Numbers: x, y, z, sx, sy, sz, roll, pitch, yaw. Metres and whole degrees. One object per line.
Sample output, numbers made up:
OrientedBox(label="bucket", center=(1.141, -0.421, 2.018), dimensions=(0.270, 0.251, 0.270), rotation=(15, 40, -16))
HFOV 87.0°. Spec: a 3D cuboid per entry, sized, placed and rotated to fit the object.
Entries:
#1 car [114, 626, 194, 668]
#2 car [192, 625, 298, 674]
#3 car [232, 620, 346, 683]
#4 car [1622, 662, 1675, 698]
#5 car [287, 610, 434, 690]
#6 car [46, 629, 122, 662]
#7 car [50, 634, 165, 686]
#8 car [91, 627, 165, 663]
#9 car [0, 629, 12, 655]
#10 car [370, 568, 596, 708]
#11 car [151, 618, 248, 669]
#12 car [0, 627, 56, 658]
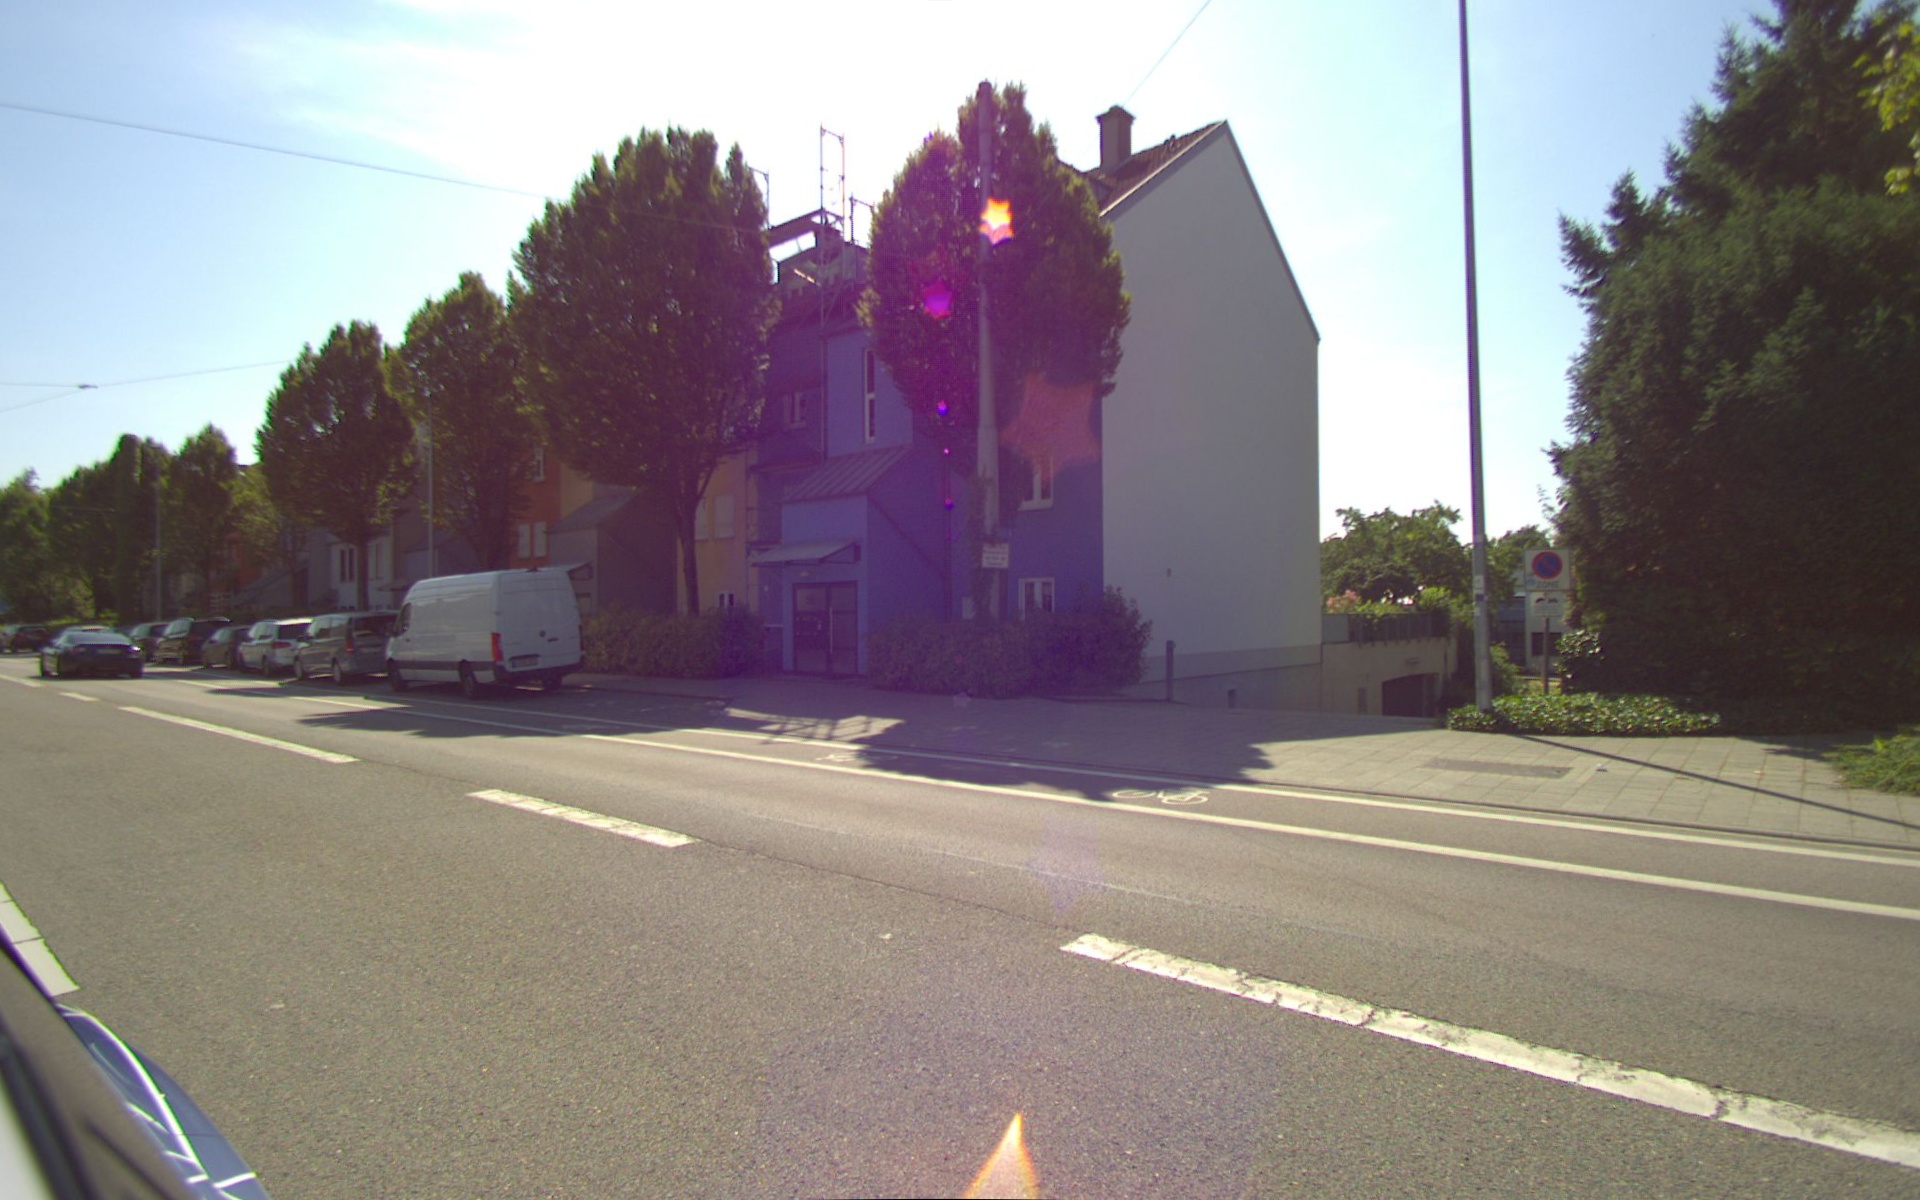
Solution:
OrientedBox(label="car", center=(-33.562, 1.908, 42.098), dimensions=(4.159, 1.619, 1.661), rotation=(-1, 0, 38))
OrientedBox(label="car", center=(-24.847, 1.681, 35.118), dimensions=(4.069, 1.466, 1.849), rotation=(-1, 2, 38))
OrientedBox(label="car", center=(-21.074, 1.550, 31.721), dimensions=(4.539, 1.715, 1.829), rotation=(-1, 3, 42))
OrientedBox(label="car", center=(33.518, 3.874, 49.206), dimensions=(1.646, 1.336, 3.946), rotation=(-4, 0, 41))
OrientedBox(label="car", center=(-16.726, 1.327, 28.127), dimensions=(4.964, 1.879, 1.973), rotation=(-2, 3, 41))
OrientedBox(label="car", center=(-43.149, 2.200, 49.818), dimensions=(4.826, 1.457, 1.663), rotation=(-1, 0, 35))
OrientedBox(label="car", center=(-22.428, 1.544, 26.575), dimensions=(4.062, 1.254, 1.670), rotation=(-2, -3, 41))
OrientedBox(label="car", center=(-37.620, 2.007, 45.740), dimensions=(4.207, 1.481, 1.661), rotation=(-1, 0, 38))
OrientedBox(label="car", center=(-58.853, 2.557, 60.770), dimensions=(4.123, 1.510, 2.017), rotation=(-1, 0, 35))
OrientedBox(label="car", center=(-11.033, 0.798, 23.015), dimensions=(7.084, 2.697, 1.973), rotation=(-2, 2, 42))
OrientedBox(label="car", center=(-28.927, 1.615, 38.455), dimensions=(4.343, 1.741, 1.812), rotation=(-1, 1, 38))
OrientedBox(label="car", center=(-52.276, 2.329, 56.281), dimensions=(4.920, 1.588, 1.889), rotation=(-1, 0, 35))
